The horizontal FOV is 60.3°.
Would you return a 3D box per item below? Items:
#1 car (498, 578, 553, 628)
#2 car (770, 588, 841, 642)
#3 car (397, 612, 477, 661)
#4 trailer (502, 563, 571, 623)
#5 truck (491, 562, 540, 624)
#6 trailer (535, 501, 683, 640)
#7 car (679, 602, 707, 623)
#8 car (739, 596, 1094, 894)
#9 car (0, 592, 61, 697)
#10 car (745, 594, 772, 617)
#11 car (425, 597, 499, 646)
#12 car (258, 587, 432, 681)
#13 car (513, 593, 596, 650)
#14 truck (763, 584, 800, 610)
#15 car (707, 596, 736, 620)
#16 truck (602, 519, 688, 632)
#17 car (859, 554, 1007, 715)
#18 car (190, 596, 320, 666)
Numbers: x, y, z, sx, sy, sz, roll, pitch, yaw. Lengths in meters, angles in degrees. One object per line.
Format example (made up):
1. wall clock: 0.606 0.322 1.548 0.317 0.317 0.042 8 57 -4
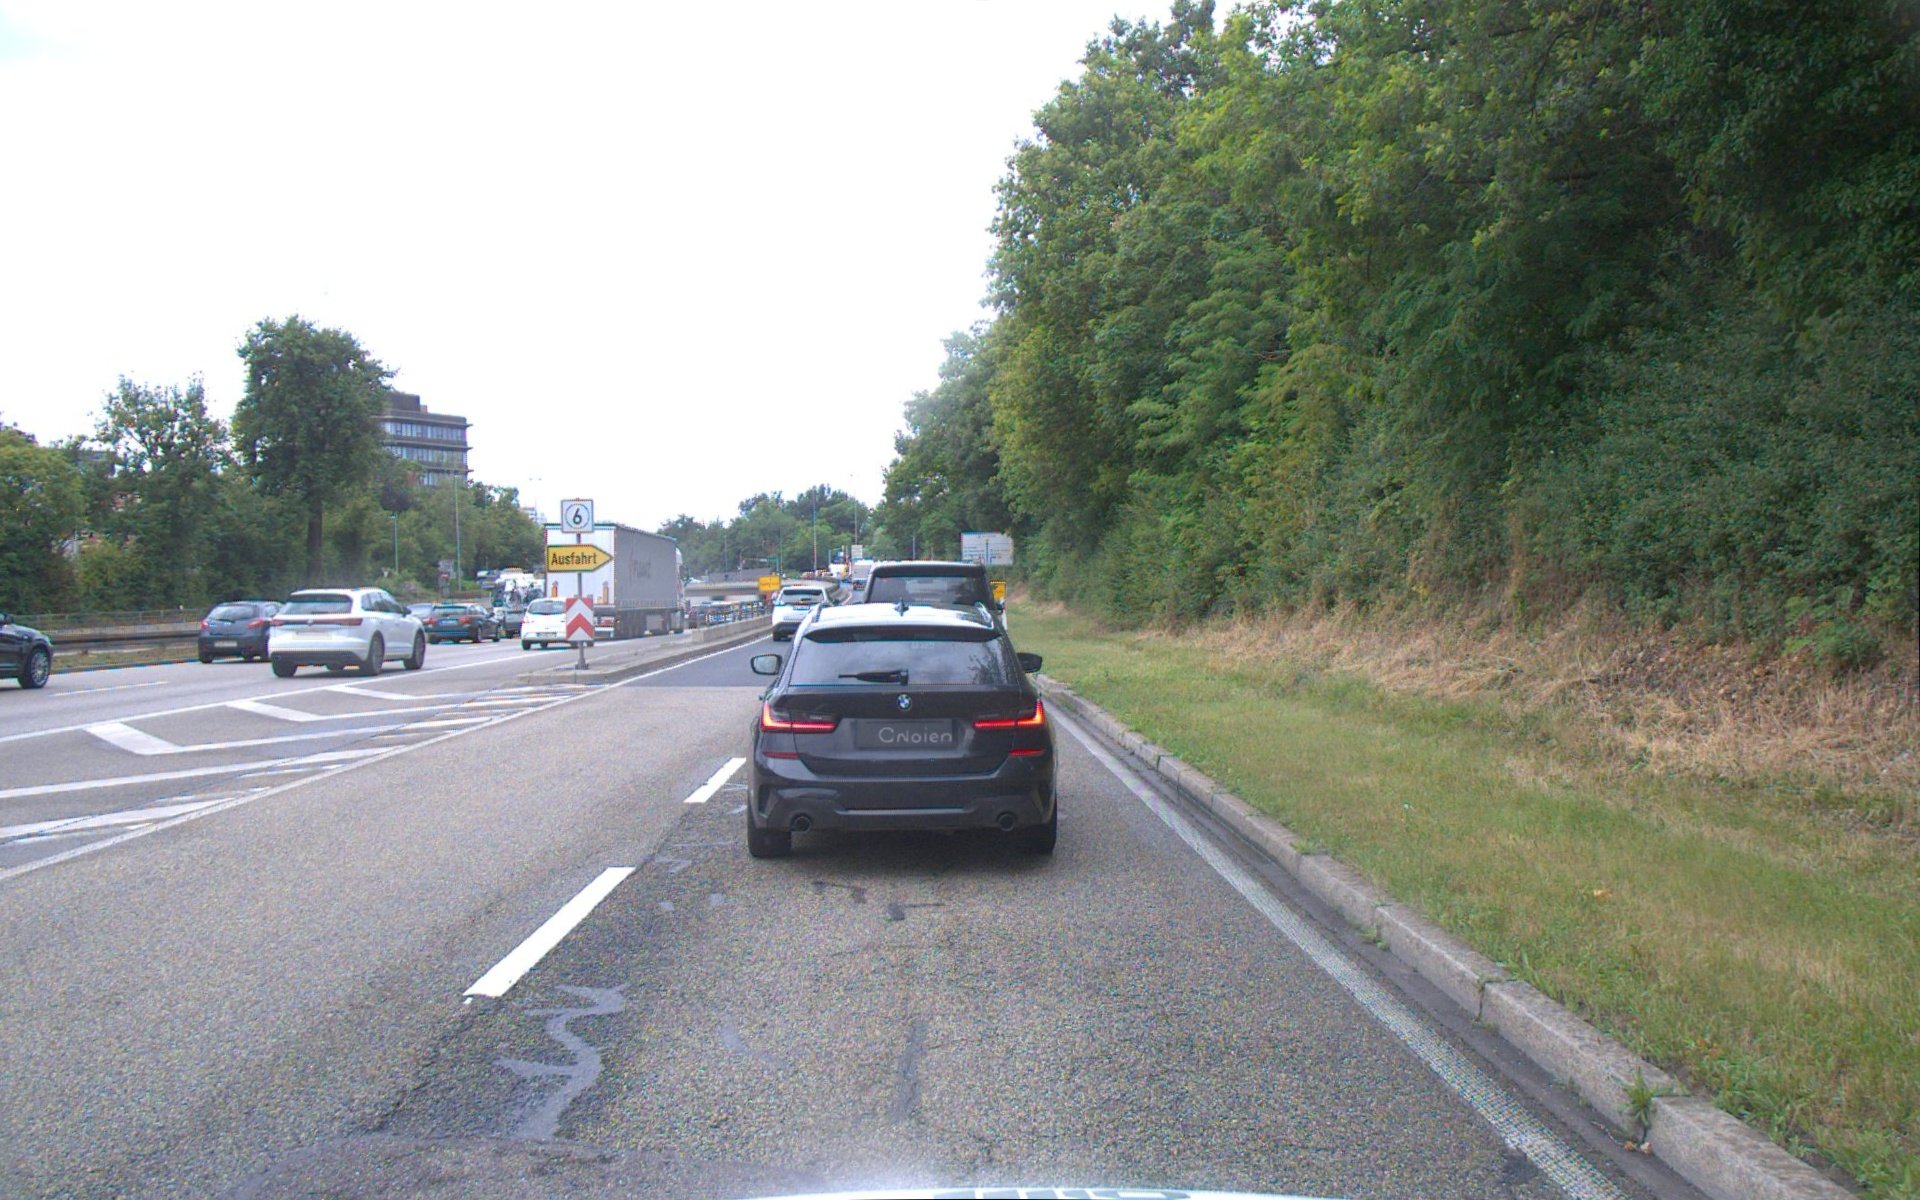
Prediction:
1. car: -18.546 0.111 70.718 1.414 2.080 3.680 -1 0 -1
2. car: -4.852 0.445 52.309 1.891 1.624 3.876 -1 0 -1
3. car: -15.556 1.075 49.331 1.357 1.329 3.350 -1 0 -1
4. trailer: -30.828 -0.527 120.977 2.350 4.099 13.069 -1 0 -3
5. truck: -30.360 -0.485 113.051 2.358 4.090 3.997 -1 0 -4
6. trailer: -13.362 -1.029 64.452 3.069 4.807 14.553 0 0 -2
7. car: -19.942 0.910 123.681 1.561 1.457 3.061 -1 0 -1
8. car: -0.324 0.734 10.492 1.809 1.492 3.997 -1 0 -3
9. car: -16.611 0.745 26.792 1.852 1.711 4.304 -1 0 -3
10. car: -13.810 0.378 113.456 1.419 1.516 3.061 -1 0 -1
11. car: -17.915 0.747 59.638 1.654 1.660 3.732 0 0 -3
12. car: -12.280 0.630 33.361 1.907 1.721 4.505 -1 0 -2
13. car: -11.982 0.597 49.059 1.733 1.576 3.491 -1 0 -3
14. truck: -18.165 -0.354 168.721 3.208 2.553 7.658 -1 0 -2
15. car: -14.802 0.464 102.597 1.350 1.422 3.061 -1 0 -1
16. truck: -13.585 -1.029 71.648 3.021 4.780 4.230 0 0 -2
17. car: -0.368 0.402 21.866 1.760 1.904 3.999 -1 0 -1
18. car: -17.441 0.725 41.105 1.654 1.636 4.006 0 0 -3
